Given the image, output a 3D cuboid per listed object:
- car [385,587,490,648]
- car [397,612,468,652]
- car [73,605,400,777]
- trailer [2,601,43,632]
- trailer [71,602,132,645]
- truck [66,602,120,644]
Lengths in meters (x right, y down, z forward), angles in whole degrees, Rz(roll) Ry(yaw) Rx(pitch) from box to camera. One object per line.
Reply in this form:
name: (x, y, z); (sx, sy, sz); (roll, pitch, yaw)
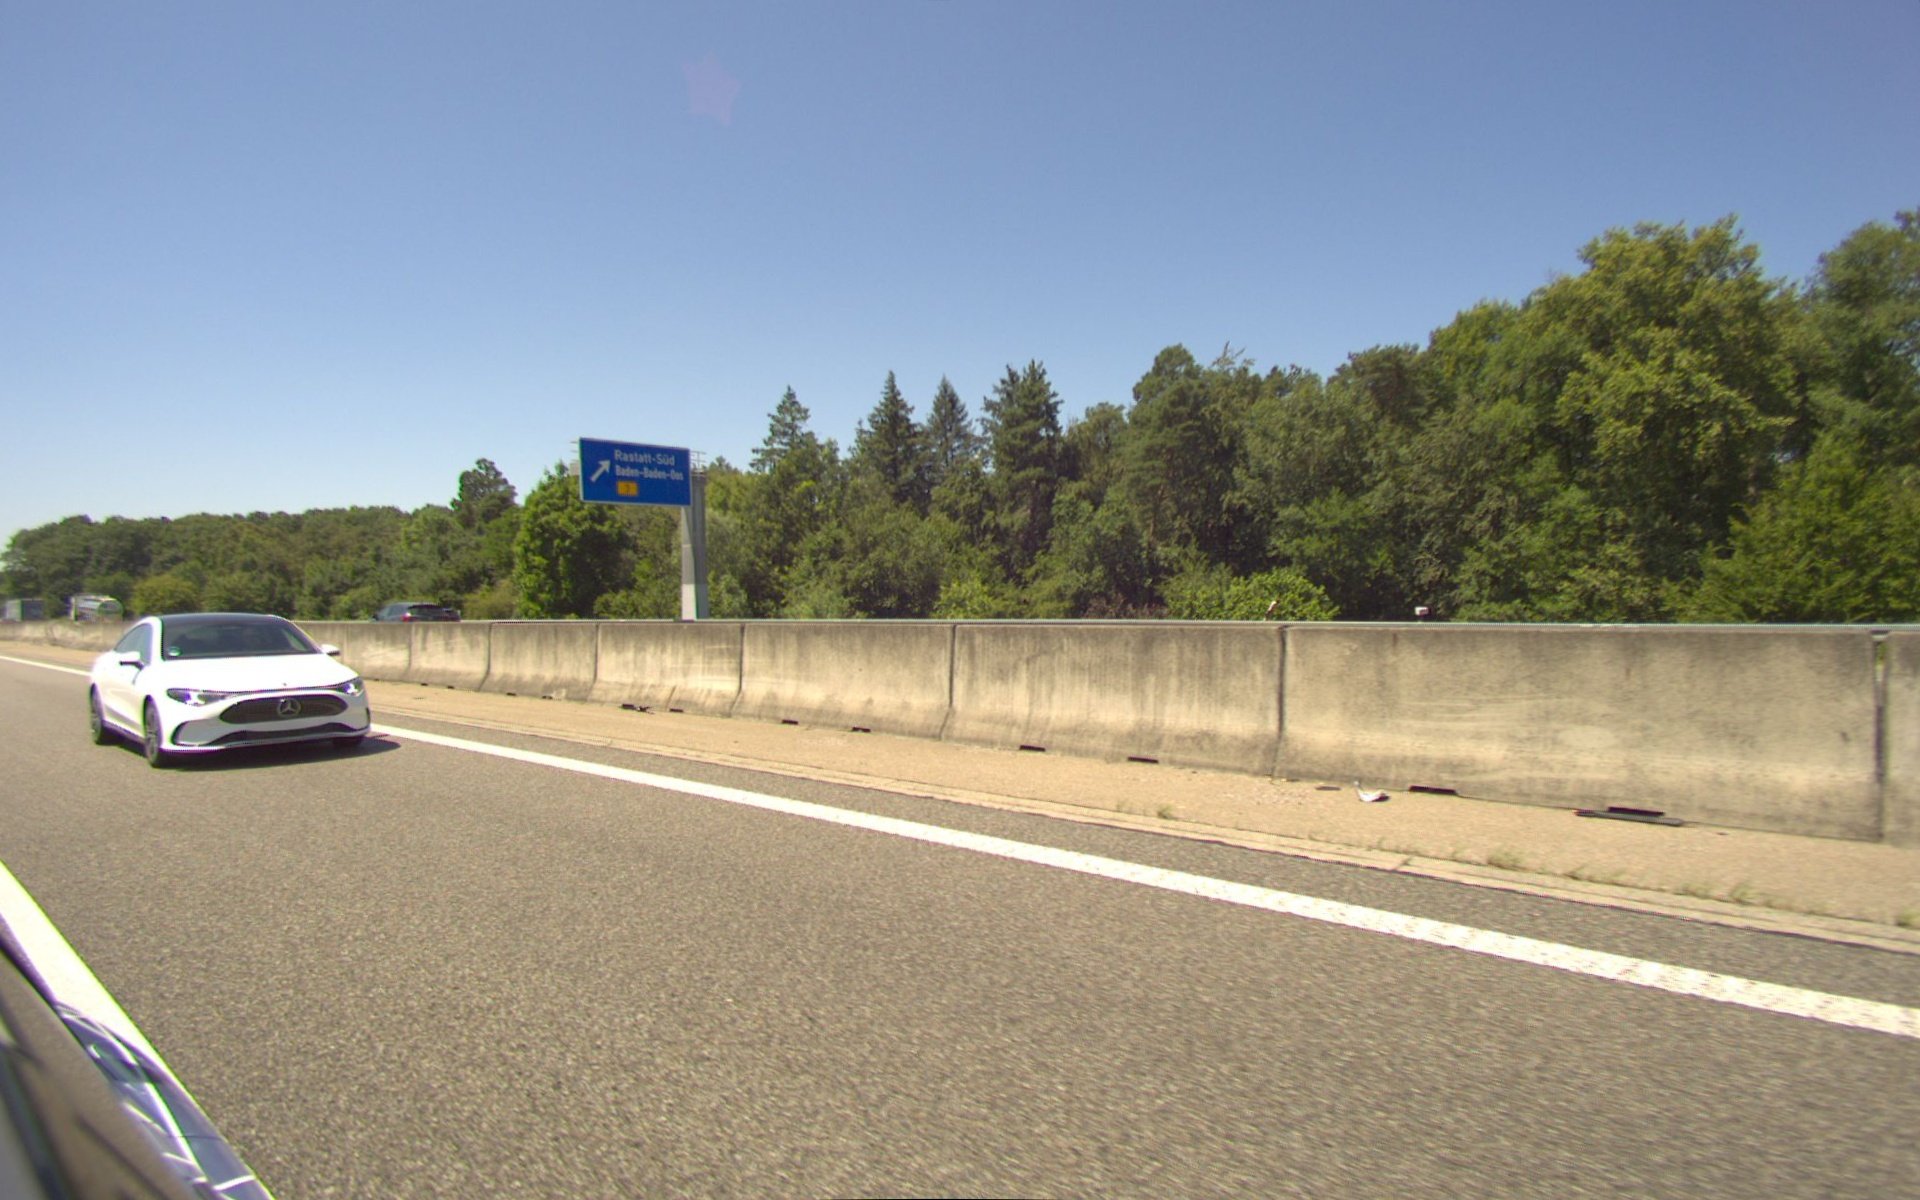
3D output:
car: (-18.544, 0.617, 35.864); (3.998, 2.029, 1.973); (-1, 0, 41)
car: (-28.692, 1.703, 54.988); (4.428, 2.029, 1.972); (-1, 0, 42)
car: (-8.020, 0.842, 10.988); (5.105, 1.459, 1.749); (-2, -1, 41)
trailer: (-132.485, 2.386, 142.966); (11.768, 4.107, 2.953); (-2, 0, 41)
trailer: (-87.379, 2.377, 102.973); (10.422, 4.077, 2.780); (-1, 3, 40)
truck: (-90.588, 2.383, 105.688); (7.722, 4.077, 2.780); (-1, 3, 40)
